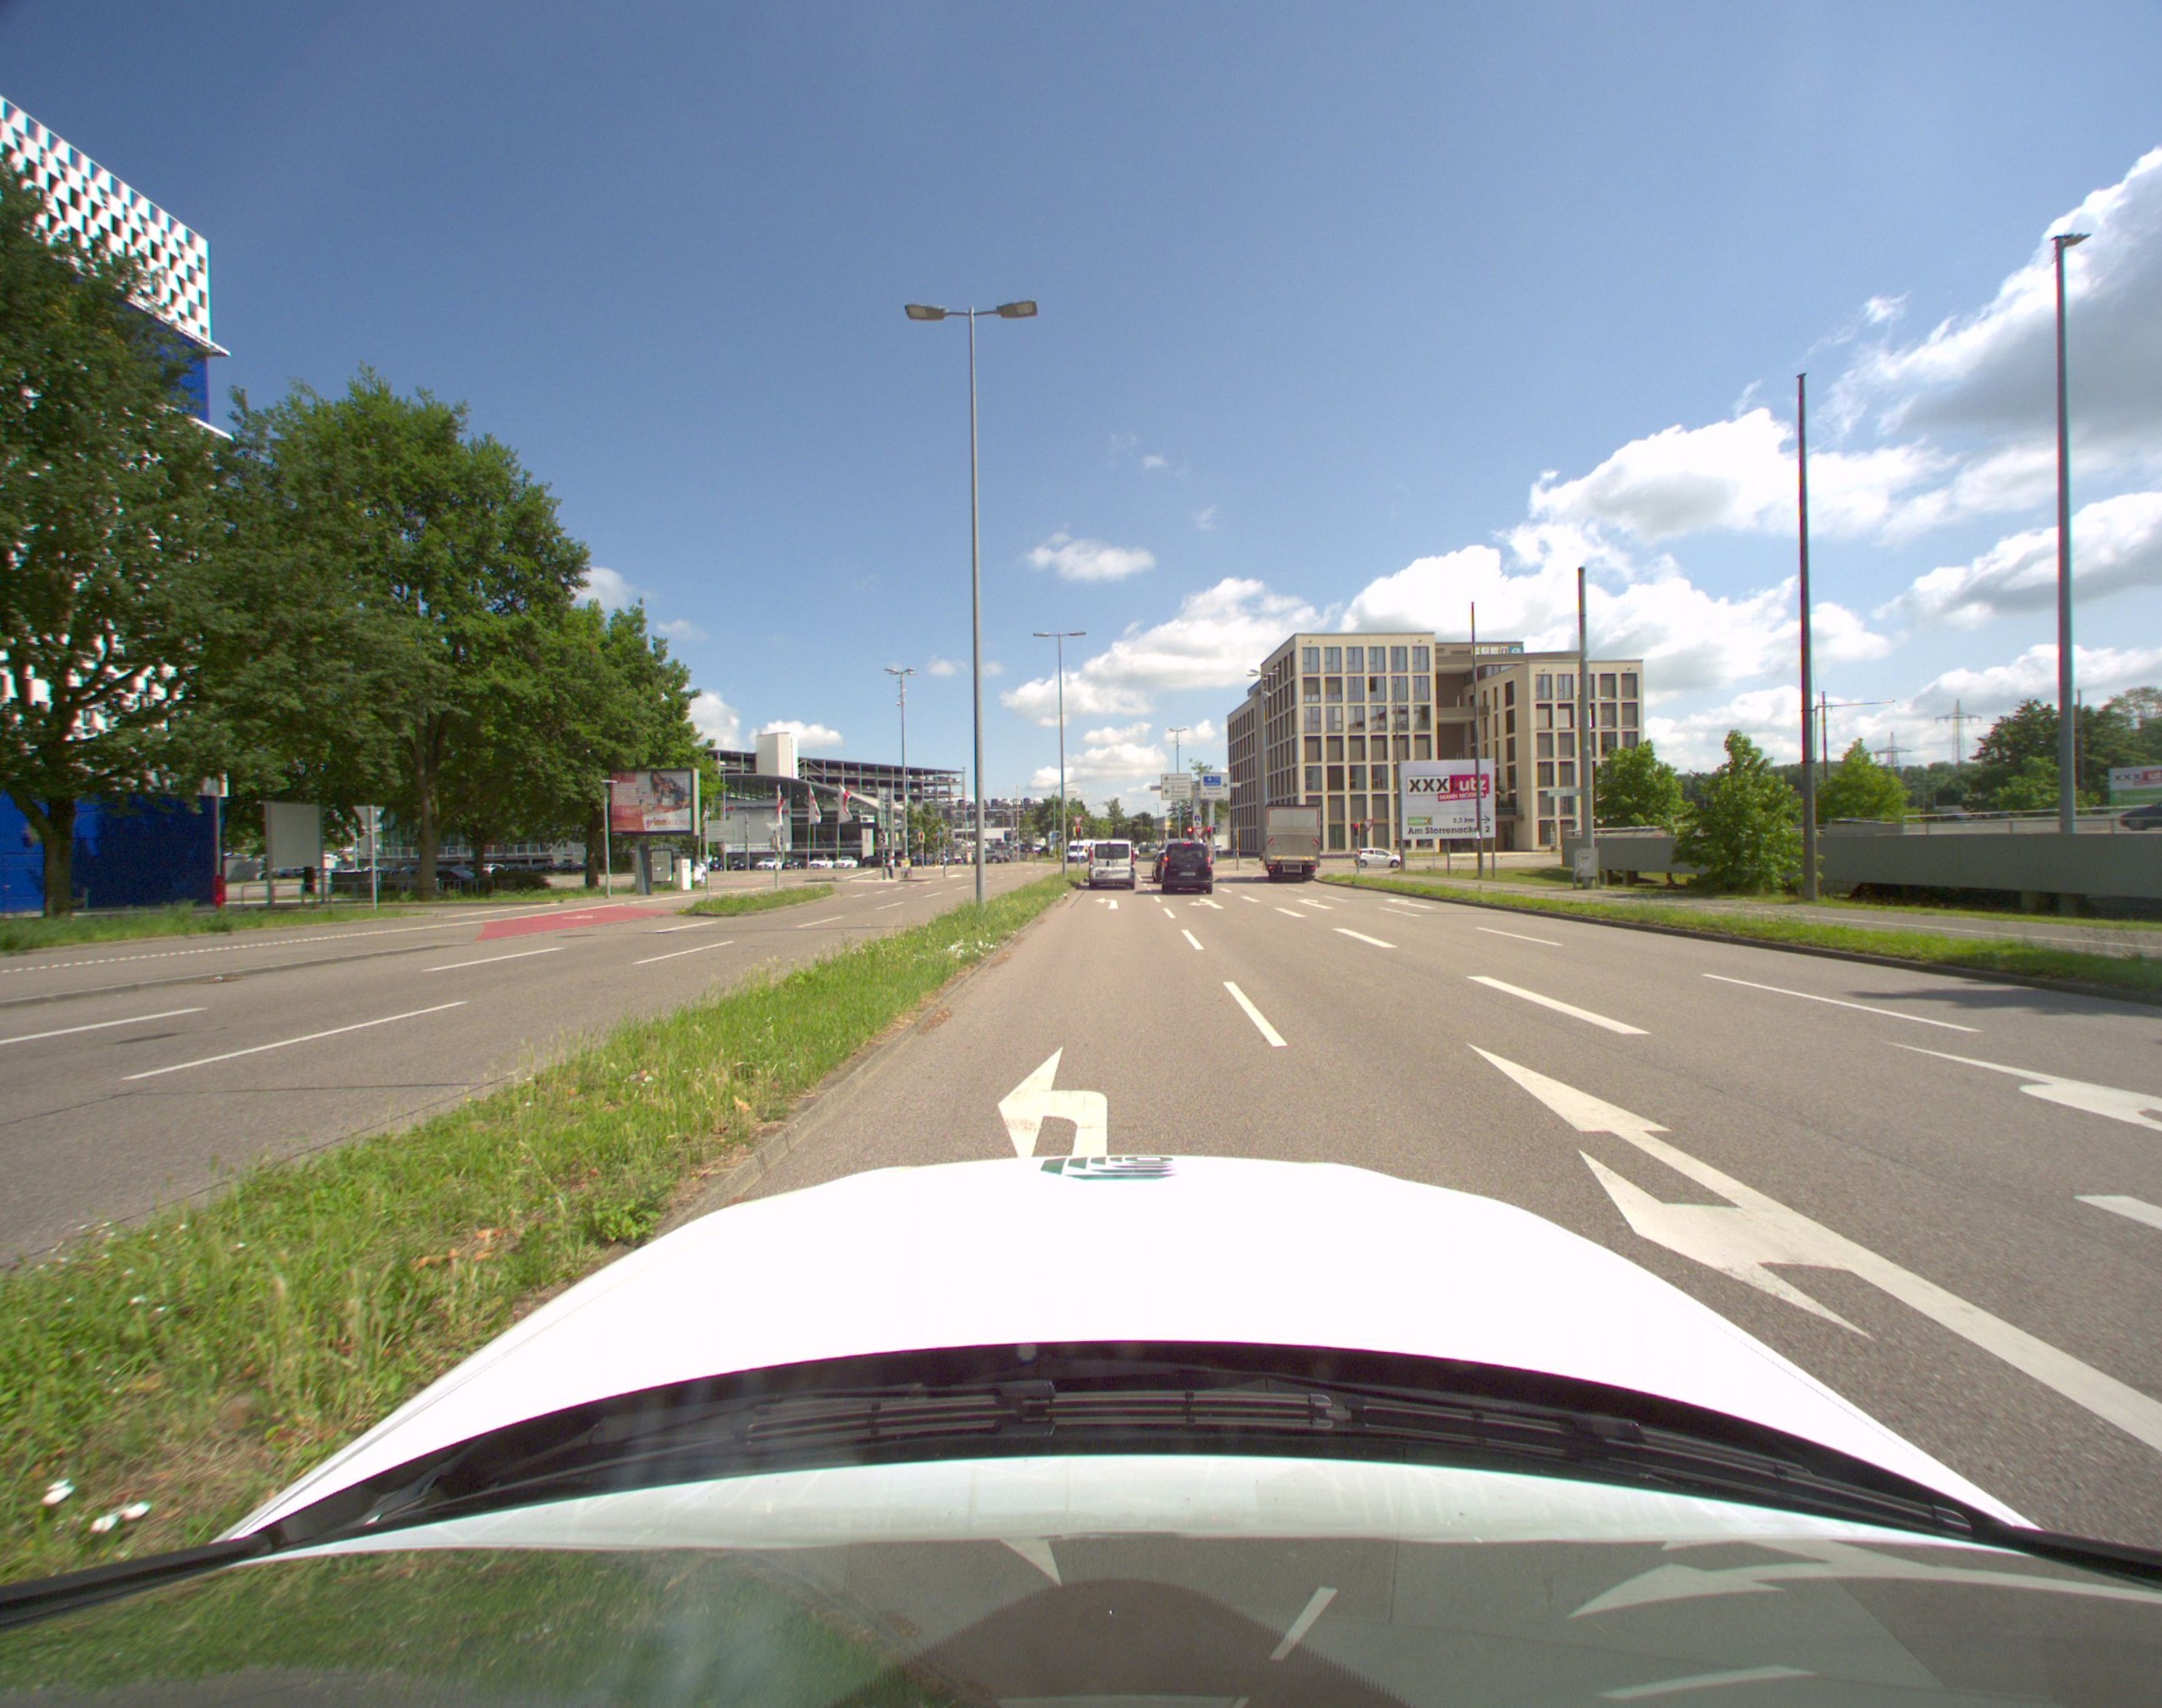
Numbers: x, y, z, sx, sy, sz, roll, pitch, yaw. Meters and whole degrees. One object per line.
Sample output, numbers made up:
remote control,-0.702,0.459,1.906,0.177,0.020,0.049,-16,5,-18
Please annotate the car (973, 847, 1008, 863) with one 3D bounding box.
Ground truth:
car,-10.543,0.091,95.053,3.902,1.712,1.688,-2,1,-2

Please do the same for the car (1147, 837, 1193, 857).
car,10.156,-0.827,93.306,2.010,2.255,5.452,-1,1,-38

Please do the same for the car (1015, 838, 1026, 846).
car,-10.706,-2.143,144.908,1.841,1.530,3.997,-1,1,-2

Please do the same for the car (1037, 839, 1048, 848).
car,-6.871,-1.827,145.017,1.841,1.530,3.997,-1,1,-2

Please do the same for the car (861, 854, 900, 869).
car,-21.373,0.786,86.831,3.783,1.513,1.677,-1,1,-3

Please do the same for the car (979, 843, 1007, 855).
car,-13.300,-0.754,123.396,4.156,1.712,1.687,0,1,-4

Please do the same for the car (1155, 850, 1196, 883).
car,4.579,0.584,39.906,1.733,1.495,4.003,0,0,3

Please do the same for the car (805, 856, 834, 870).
car,-27.887,0.901,86.841,1.902,1.376,3.750,-1,1,-1

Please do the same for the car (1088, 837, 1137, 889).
car,1.374,0.336,33.778,1.847,2.018,4.005,0,0,4

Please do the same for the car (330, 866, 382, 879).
car,-76.344,1.929,85.807,1.790,1.254,4.003,-1,1,3

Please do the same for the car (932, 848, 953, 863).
car,-14.931,0.199,87.668,1.820,1.552,3.980,0,0,-14

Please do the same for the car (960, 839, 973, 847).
car,-20.605,-1.972,146.362,1.841,1.530,3.997,-1,1,-2

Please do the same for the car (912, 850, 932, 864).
car,-17.053,0.311,87.159,1.820,1.552,3.980,0,0,-14

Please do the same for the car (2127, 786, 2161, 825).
car,45.024,-2.009,32.376,1.865,1.521,3.864,0,0,-3

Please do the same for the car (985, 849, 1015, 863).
car,-10.992,0.219,110.410,3.902,1.712,1.688,-2,1,-2

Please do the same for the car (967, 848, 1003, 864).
car,-10.845,0.193,92.539,3.851,1.639,1.857,-2,1,-2

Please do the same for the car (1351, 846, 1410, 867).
car,22.575,0.175,61.493,3.836,1.466,1.696,-1,1,2

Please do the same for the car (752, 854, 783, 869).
car,-33.319,0.791,86.691,1.873,1.486,3.699,-1,1,-1

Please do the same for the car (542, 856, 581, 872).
car,-54.957,1.053,86.238,1.722,1.486,3.699,-1,1,-1

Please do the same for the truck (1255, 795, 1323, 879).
truck,11.013,-0.793,43.172,3.107,3.940,8.892,0,0,14

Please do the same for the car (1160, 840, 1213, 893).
car,3.867,0.418,30.274,1.811,1.808,4.006,0,0,5

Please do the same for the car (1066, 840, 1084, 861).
car,-0.724,-0.420,95.034,1.965,2.256,4.979,-2,1,-1

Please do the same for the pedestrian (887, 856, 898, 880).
pedestrian,-12.345,0.917,53.372,0.464,1.512,0.515,0,0,27

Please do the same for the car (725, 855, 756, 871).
car,-36.164,0.939,86.549,1.722,1.486,3.699,-1,1,-1

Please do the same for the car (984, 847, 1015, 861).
car,-10.869,0.000,108.176,3.902,1.712,1.688,-2,1,-2

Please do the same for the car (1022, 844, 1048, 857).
car,-6.987,-0.576,123.945,3.979,1.926,1.824,0,0,-4

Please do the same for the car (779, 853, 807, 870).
car,-30.644,0.802,86.701,1.752,1.660,3.615,-1,1,-2

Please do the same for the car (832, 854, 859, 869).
car,-25.192,0.822,87.170,1.771,1.450,4.028,-1,1,-1
